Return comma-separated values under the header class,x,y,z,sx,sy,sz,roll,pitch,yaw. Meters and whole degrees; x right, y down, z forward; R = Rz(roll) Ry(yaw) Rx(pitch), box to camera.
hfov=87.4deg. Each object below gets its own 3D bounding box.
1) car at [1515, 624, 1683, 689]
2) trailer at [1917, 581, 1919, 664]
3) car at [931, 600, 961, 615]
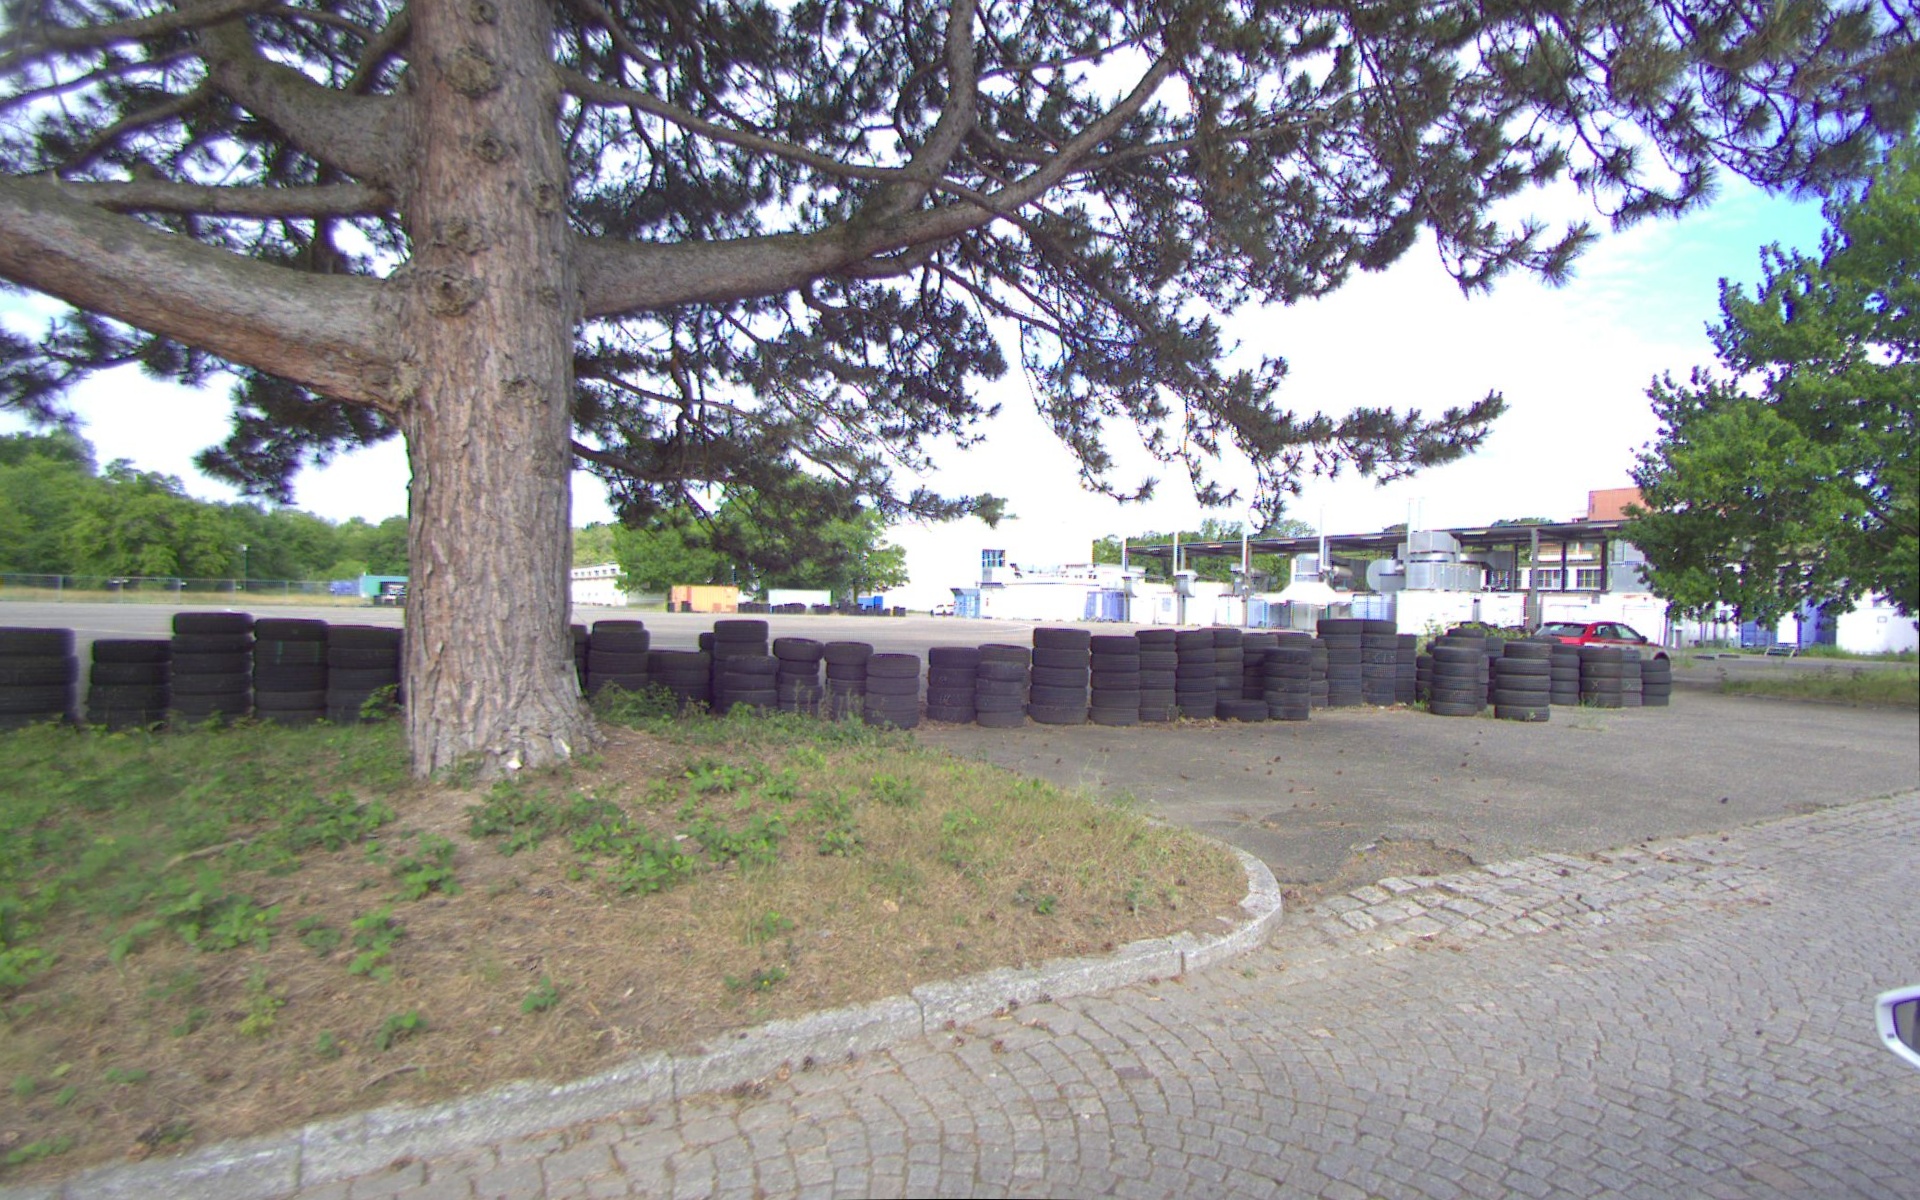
class,x,y,z,sx,sy,sz,roll,pitch,yaw
car,15.770,1.341,24.770,4.008,1.452,1.620,1,0,-25
trailer,47.193,1.115,45.465,10.051,3.646,2.614,2,0,-29
car,-1.640,0.914,118.861,1.808,1.655,4.086,1,0,-29
